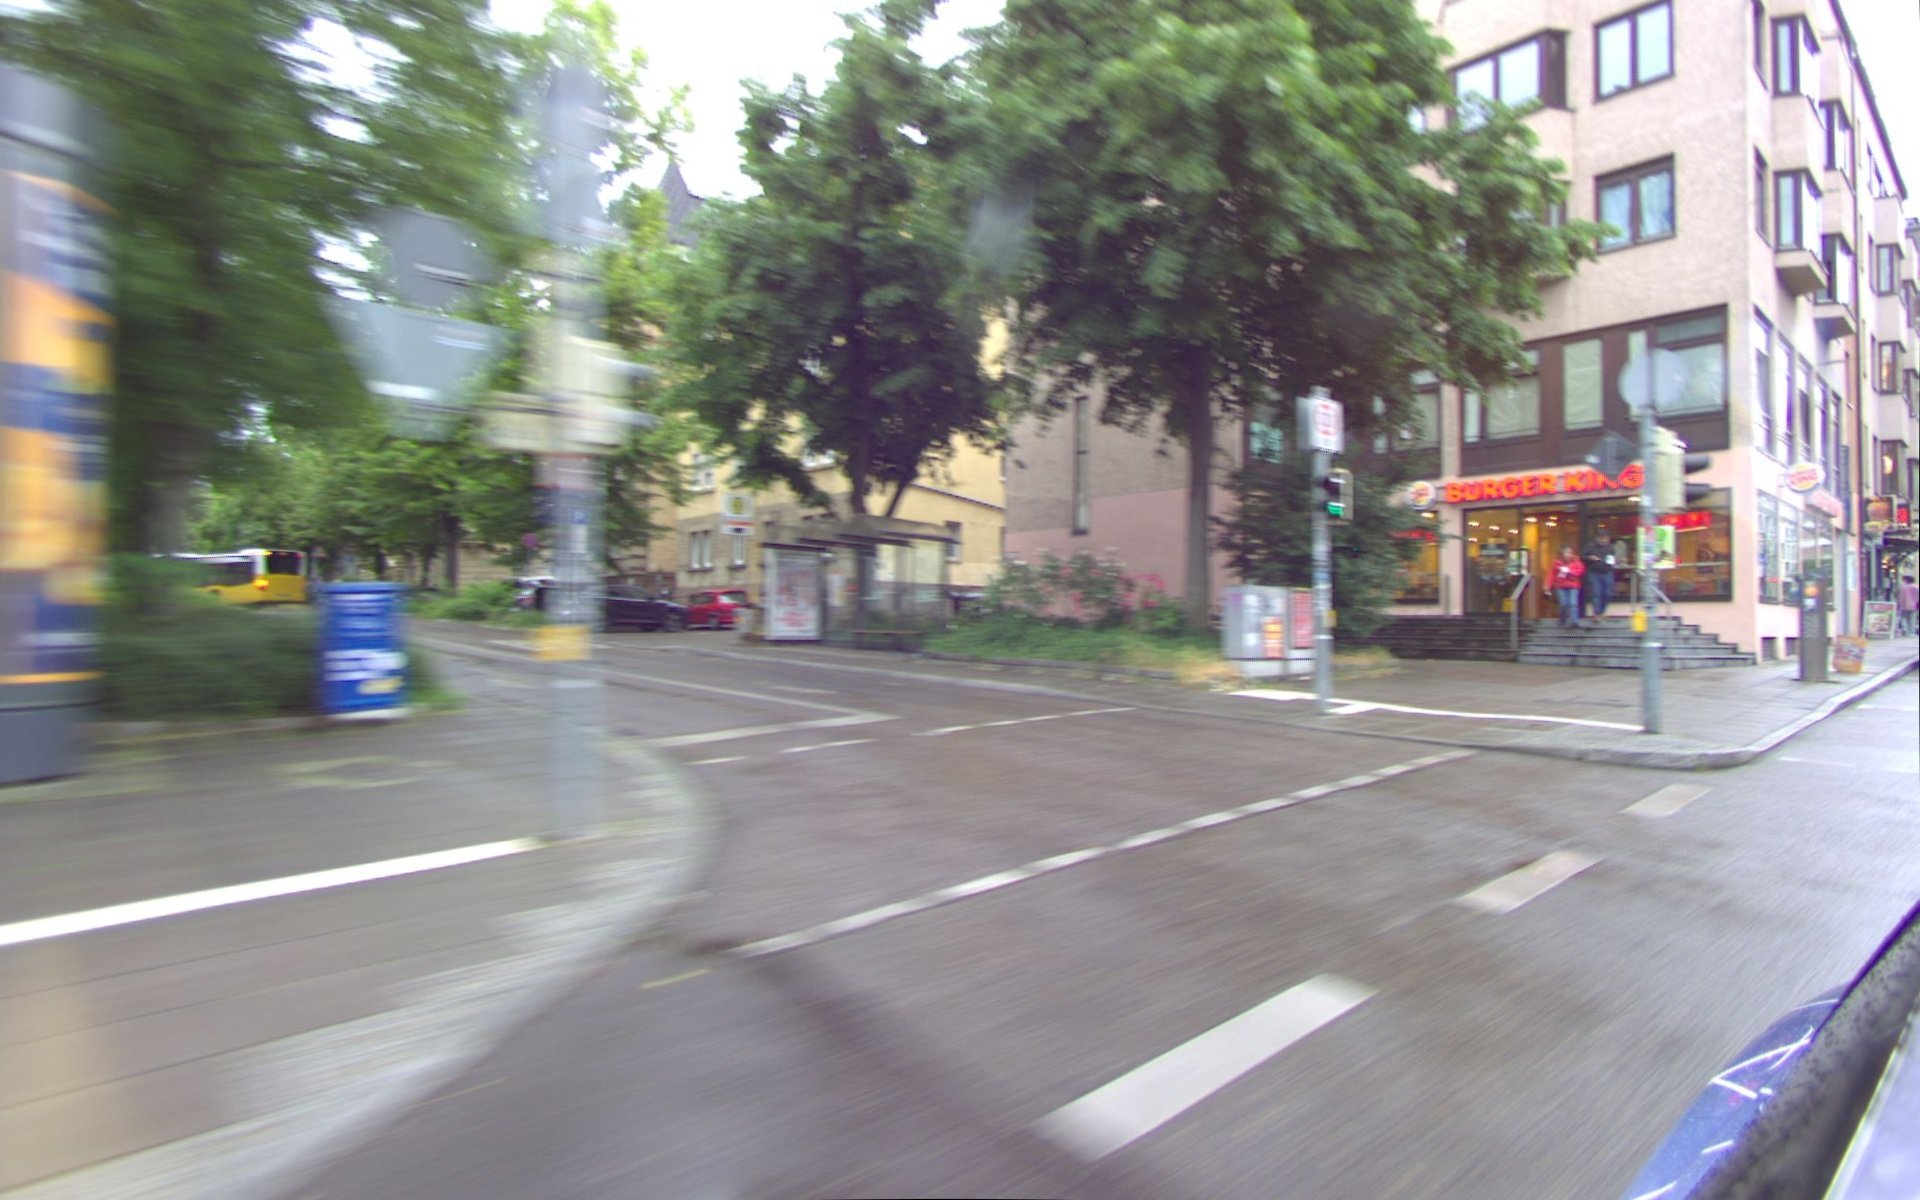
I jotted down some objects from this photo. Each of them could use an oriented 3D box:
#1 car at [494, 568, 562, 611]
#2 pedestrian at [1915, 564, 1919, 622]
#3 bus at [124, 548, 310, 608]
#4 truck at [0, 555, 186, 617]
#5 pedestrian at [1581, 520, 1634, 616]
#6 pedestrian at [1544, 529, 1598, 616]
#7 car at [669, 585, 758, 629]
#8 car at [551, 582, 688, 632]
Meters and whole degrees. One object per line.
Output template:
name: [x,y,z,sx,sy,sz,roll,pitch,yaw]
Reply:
car: [-21.510,-0.547,50.224,1.820,2.020,5.403,-1,1,-38]
pedestrian: [31.326,-0.221,32.791,0.528,1.882,0.548,0,1,41]
bus: [-40.299,-1.168,54.834,10.371,3.056,2.836,0,1,20]
truck: [-34.586,-0.560,40.142,5.982,2.306,2.261,-1,1,-43]
pedestrian: [12.559,-0.618,19.646,0.585,1.842,0.667,0,0,-1]
pedestrian: [11.935,-0.532,19.782,0.613,1.670,0.726,0,1,-1]
car: [-8.904,0.204,36.388,1.644,1.474,3.669,-1,1,-40]
car: [-10.824,0.179,32.273,3.806,1.479,1.675,-1,1,-43]
